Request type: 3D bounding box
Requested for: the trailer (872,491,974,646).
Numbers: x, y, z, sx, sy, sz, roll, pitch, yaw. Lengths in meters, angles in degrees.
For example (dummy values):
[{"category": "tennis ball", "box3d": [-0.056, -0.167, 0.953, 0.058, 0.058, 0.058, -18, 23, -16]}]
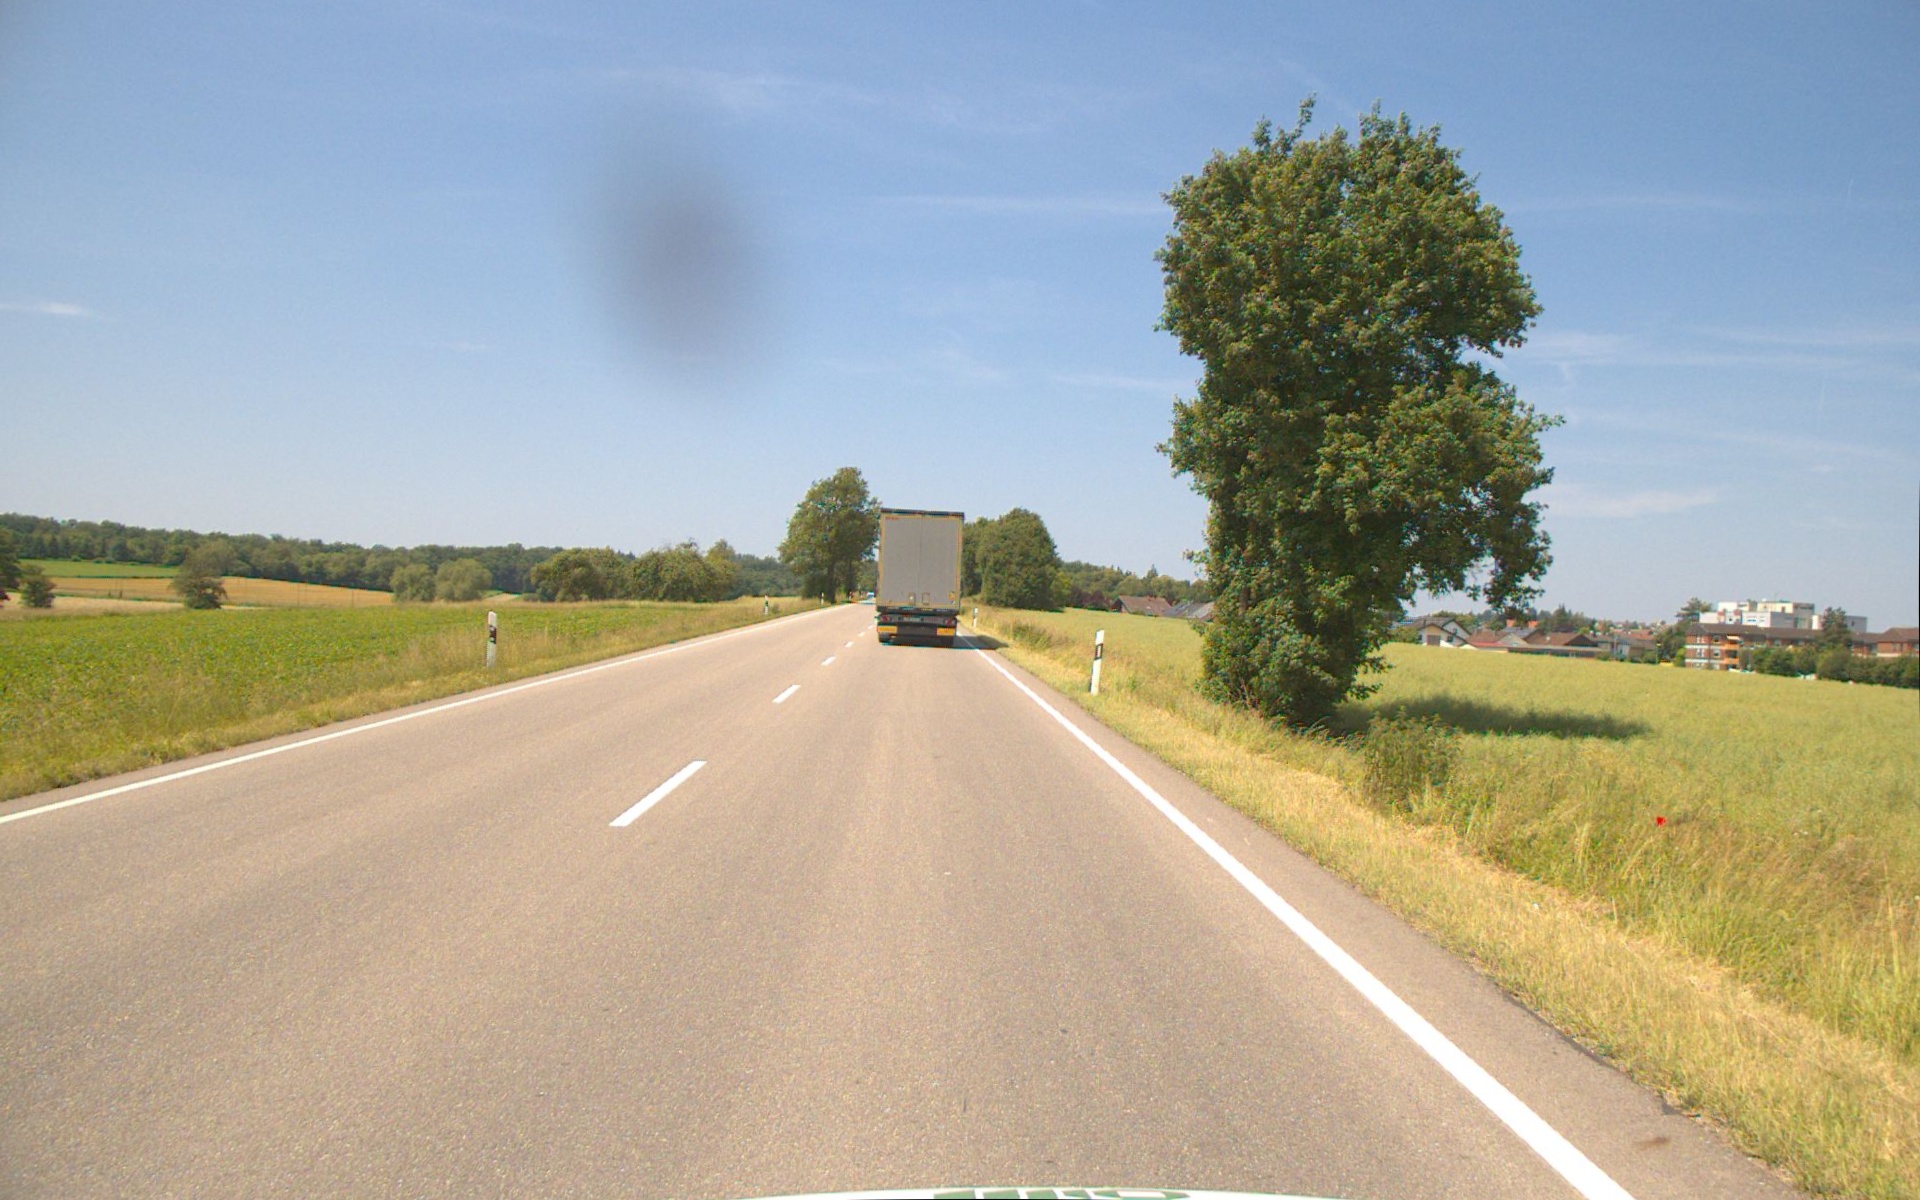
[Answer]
[{"category": "trailer", "box3d": [-1.440, -0.980, 55.592, 2.810, 4.477, 13.484, 2, 0, -3]}]
